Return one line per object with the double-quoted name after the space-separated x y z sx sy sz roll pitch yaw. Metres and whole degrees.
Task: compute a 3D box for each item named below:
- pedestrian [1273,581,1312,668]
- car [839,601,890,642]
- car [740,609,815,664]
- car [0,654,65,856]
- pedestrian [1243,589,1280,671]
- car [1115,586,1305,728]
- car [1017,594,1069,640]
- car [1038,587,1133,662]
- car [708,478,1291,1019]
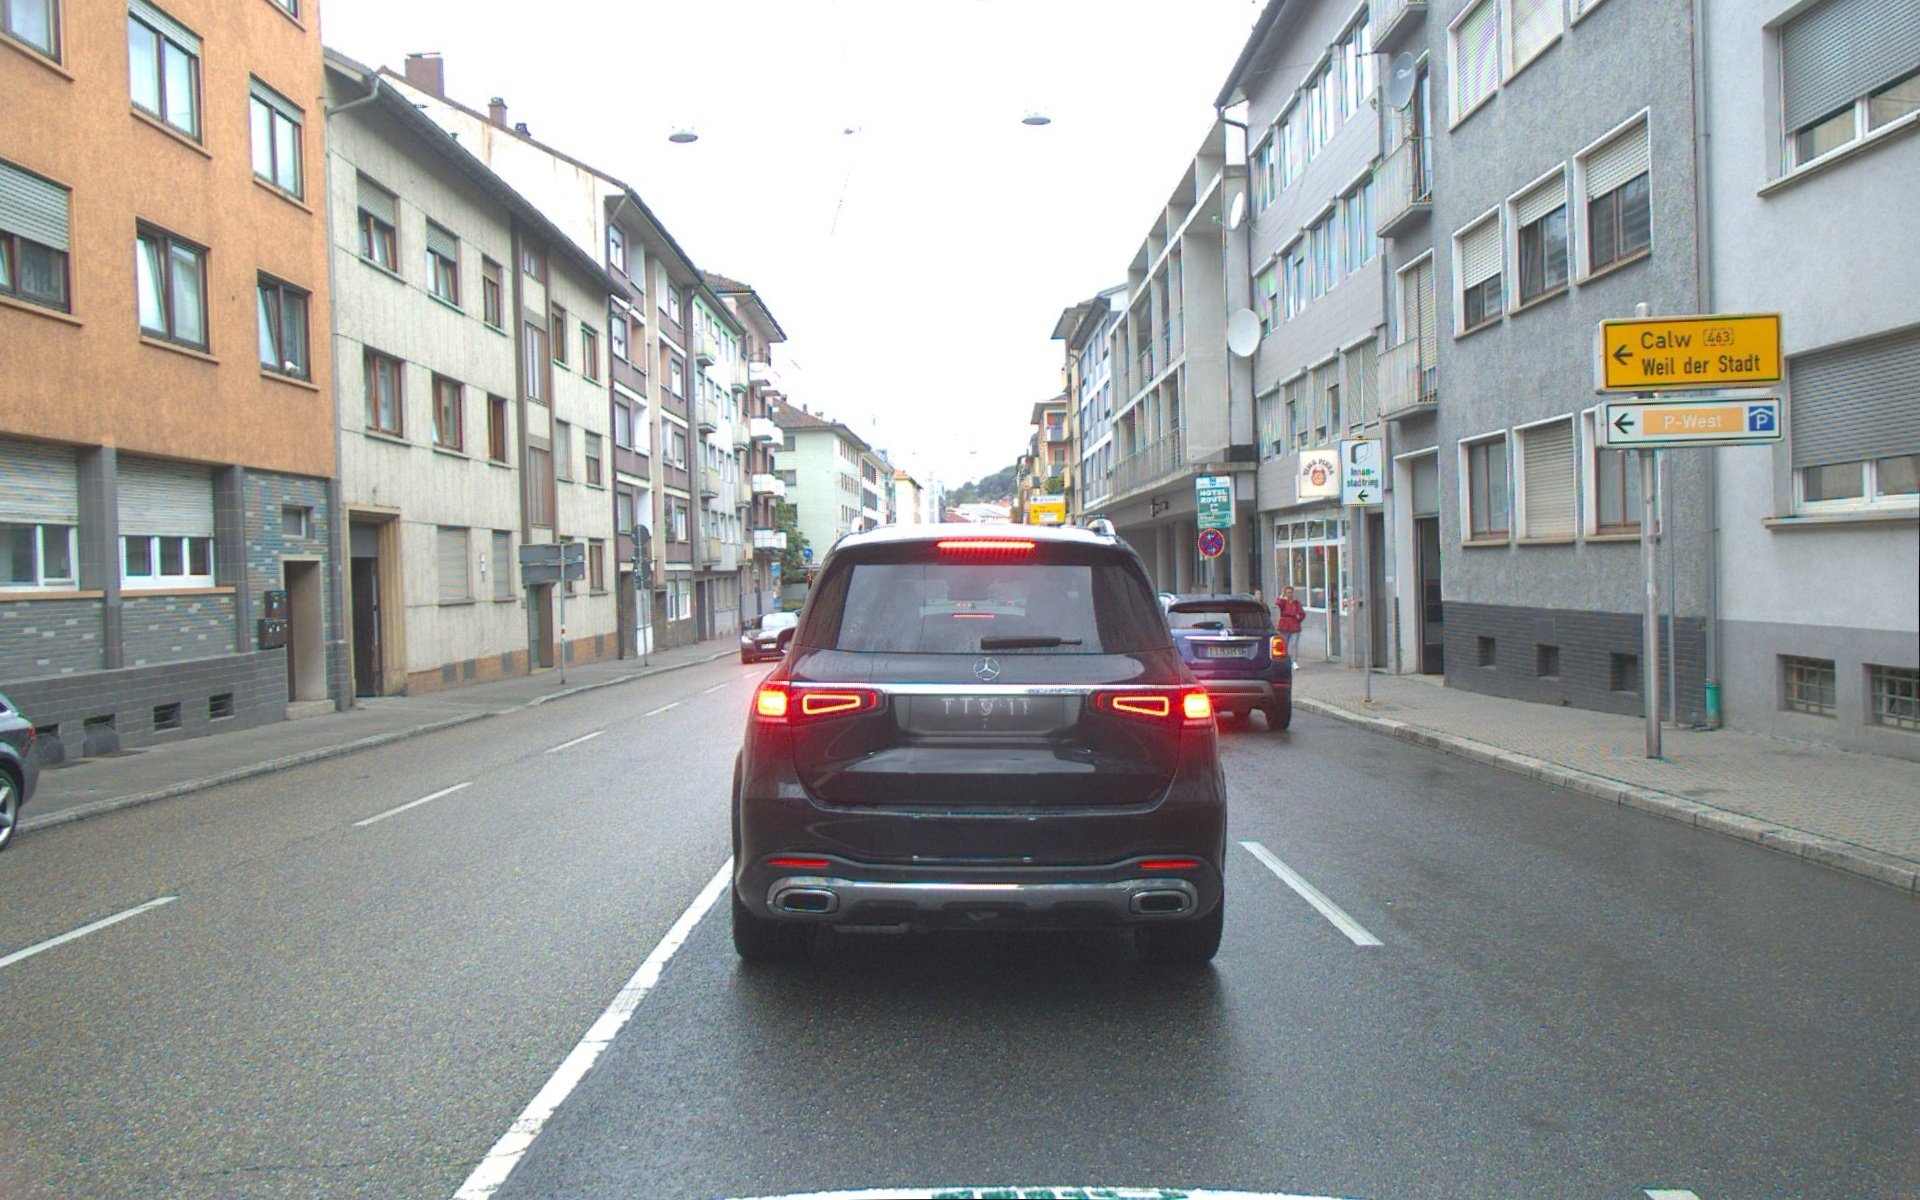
6.369 0.462 31.672 0.548 1.606 0.526 -4 0 1 "pedestrian"
-3.669 0.806 64.052 1.690 1.414 4.338 -3 0 -1 "car"
-5.242 1.021 47.975 1.732 1.369 3.887 -5 0 -2 "car"
-7.964 1.159 10.870 1.759 1.463 4.525 1 0 -1 "car"
5.769 0.561 31.664 0.496 1.526 0.562 -4 0 -4 "pedestrian"
3.048 0.646 20.900 1.731 1.608 3.999 0 0 -1 "car"
3.021 0.602 60.957 1.771 1.634 4.212 0 0 1 "car"
3.141 0.578 42.253 1.901 1.806 4.744 0 0 -2 "car"
0.097 0.512 7.709 1.984 1.837 3.999 1 0 -1 "car"
